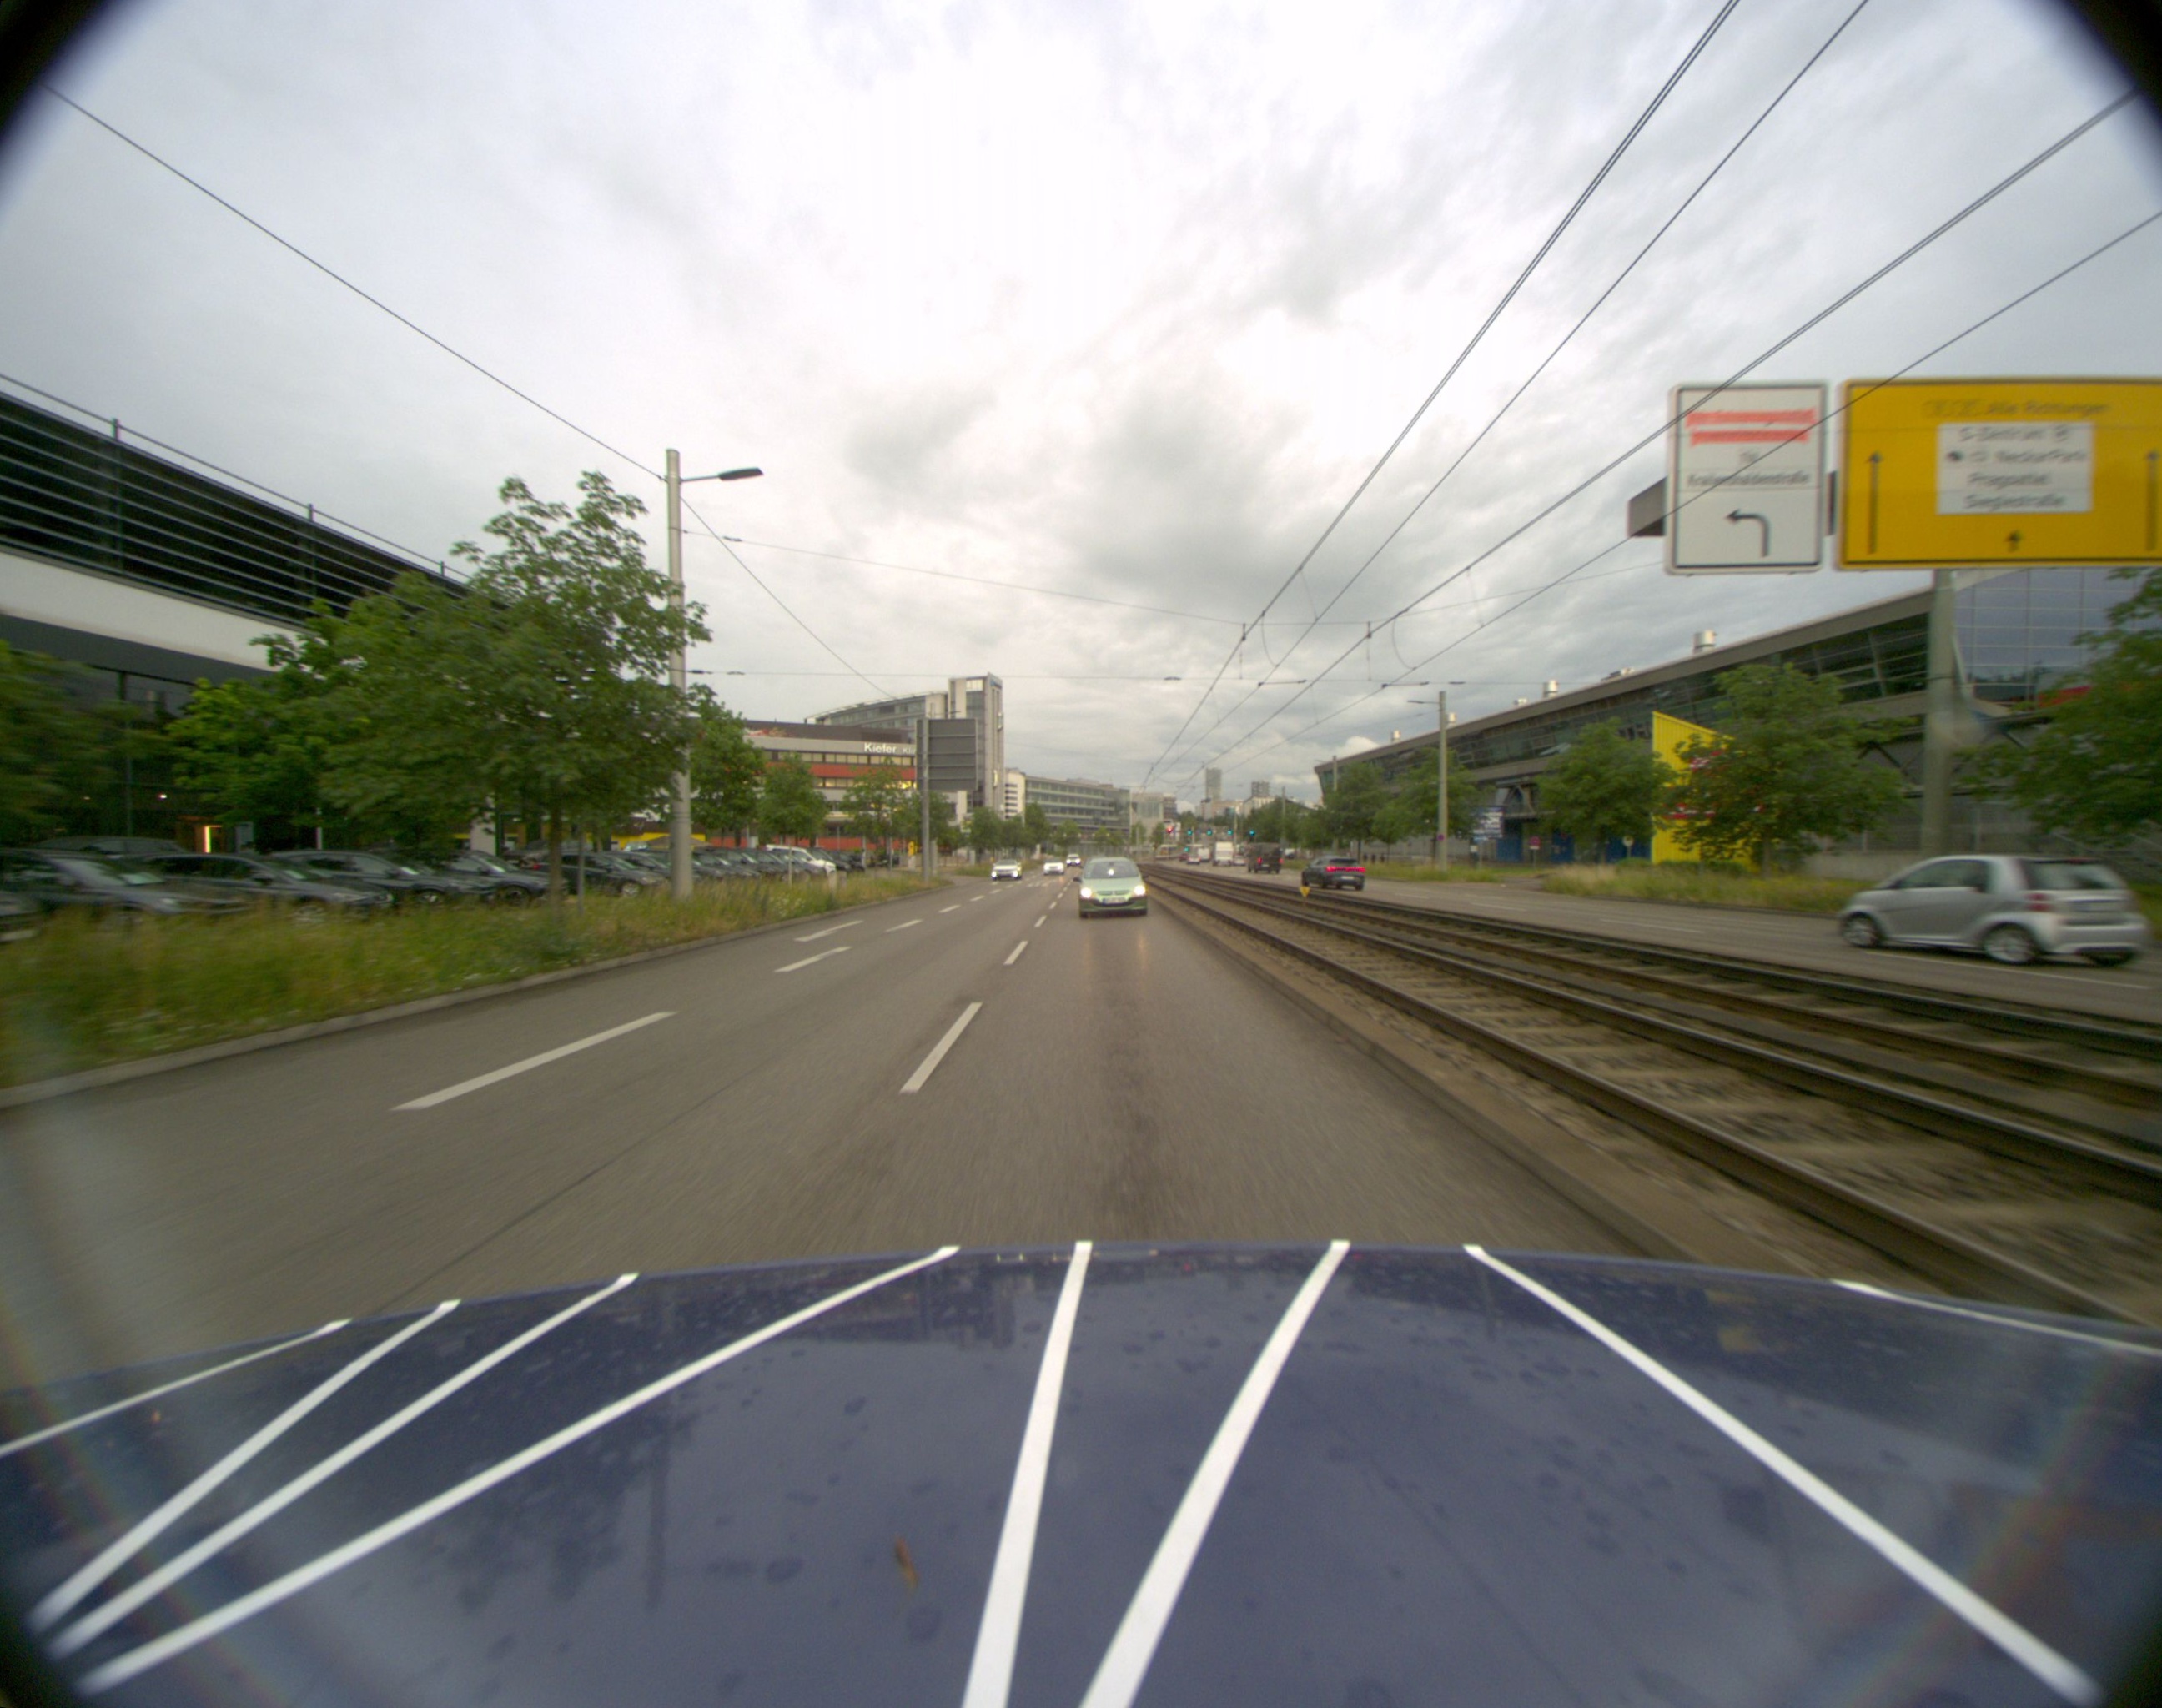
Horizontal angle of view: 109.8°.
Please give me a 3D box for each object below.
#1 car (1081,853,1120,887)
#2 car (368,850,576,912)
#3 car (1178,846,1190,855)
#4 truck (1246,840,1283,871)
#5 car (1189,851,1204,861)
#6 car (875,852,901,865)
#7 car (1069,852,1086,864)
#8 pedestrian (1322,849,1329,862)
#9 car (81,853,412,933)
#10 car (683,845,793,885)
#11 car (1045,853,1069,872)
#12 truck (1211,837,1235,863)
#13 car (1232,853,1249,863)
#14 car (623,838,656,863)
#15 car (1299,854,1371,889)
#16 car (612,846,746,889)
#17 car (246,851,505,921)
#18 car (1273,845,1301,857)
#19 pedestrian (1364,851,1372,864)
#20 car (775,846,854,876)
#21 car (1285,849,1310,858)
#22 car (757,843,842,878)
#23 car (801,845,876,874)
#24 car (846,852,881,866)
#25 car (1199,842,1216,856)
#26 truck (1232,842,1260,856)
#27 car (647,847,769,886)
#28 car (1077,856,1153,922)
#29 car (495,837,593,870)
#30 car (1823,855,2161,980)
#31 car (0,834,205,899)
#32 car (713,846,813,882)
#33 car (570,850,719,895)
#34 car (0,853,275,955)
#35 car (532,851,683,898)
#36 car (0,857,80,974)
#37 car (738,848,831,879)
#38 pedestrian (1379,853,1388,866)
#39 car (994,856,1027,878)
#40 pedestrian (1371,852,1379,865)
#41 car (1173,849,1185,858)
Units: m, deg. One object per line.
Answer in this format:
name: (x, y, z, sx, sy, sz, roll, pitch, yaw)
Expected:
car: (1.035, 0.751, 38.248, 1.762, 1.535, 3.714, -3, 1, 3)
car: (-16.386, 0.722, 20.689, 4.061, 1.567, 1.730, 1, 1, -18)
car: (19.713, -0.579, 145.971, 1.913, 1.647, 4.362, 2, 0, 4)
truck: (15.956, 0.062, 66.259, 2.243, 2.550, 7.017, 0, 0, 6)
car: (17.588, 0.273, 115.560, 1.810, 1.490, 4.442, 2, 0, 3)
car: (-21.158, 0.452, 83.490, 1.784, 1.410, 3.782, 1, 0, 1)
car: (-0.435, 0.487, 105.563, 1.889, 1.584, 3.983, -1, 0, 7)
pedestrian: (32.039, 0.199, 99.457, 0.684, 1.554, 0.627, -3, 1, 1)
car: (-16.548, 0.749, 15.368, 4.156, 1.450, 1.791, 1, 1, -18)
car: (-16.397, 0.518, 36.546, 4.501, 1.785, 1.819, 1, 1, -12)
car: (-2.069, 0.724, 65.541, 1.818, 1.584, 3.836, 0, 1, 2)
truck: (19.432, -0.535, 104.278, 2.732, 3.338, 7.155, 2, 1, 7)
car: (23.160, 0.585, 110.699, 1.901, 1.480, 4.424, 0, 0, 5)
car: (-30.170, -0.217, 51.906, 1.848, 1.634, 4.305, 0, 0, -31)
car: (11.025, 0.729, 33.312, 1.807, 1.420, 4.236, 1, 0, 1)
car: (-16.422, 0.560, 31.245, 4.501, 1.653, 1.819, 1, 1, -10)
car: (-16.578, 0.731, 18.135, 4.156, 1.525, 1.791, 1, 1, -18)
car: (41.831, -0.568, 154.257, 5.065, 2.318, 1.998, 0, 0, -10)
pedestrian: (32.043, 0.416, 84.918, 0.512, 1.447, 0.653, -3, 1, -9)
car: (-16.306, 0.418, 46.720, 4.392, 1.779, 1.876, 1, 1, -13)
car: (42.715, -0.086, 149.889, 4.253, 1.705, 1.912, 0, 0, -6)
car: (-16.324, 0.375, 44.253, 4.503, 1.980, 1.818, 1, 1, -17)
car: (-16.169, 0.392, 50.751, 1.873, 1.805, 4.401, 2, -1, 41)
car: (-29.107, 0.698, 101.524, 4.363, 1.637, 1.791, -3, 1, -19)
car: (22.604, -0.915, 136.201, 2.438, 2.486, 6.550, 1, 0, 5)
truck: (45.473, -1.379, 208.862, 4.081, 3.734, 10.875, 0, 0, 31)
car: (-16.468, 0.543, 33.745, 4.500, 1.610, 1.820, 1, 1, -8)
car: (0.867, 0.853, 20.444, 1.762, 1.489, 4.137, -3, 1, 1)
car: (-24.990, -0.012, 35.523, 1.784, 1.464, 3.899, 0, 0, 0)
car: (13.316, 0.832, 11.254, 1.603, 1.528, 2.949, 2, 1, -4)
car: (-25.227, 0.278, 19.185, 1.669, 1.464, 3.899, 0, 0, 0)
car: (-16.352, 0.496, 39.265, 4.501, 1.742, 1.819, 1, 1, -12)
car: (-16.309, 0.683, 28.594, 4.501, 1.560, 1.819, 1, 1, -10)
car: (-16.685, 0.785, 12.616, 4.156, 1.519, 1.828, 1, 1, -18)
car: (-16.157, 0.694, 26.120, 4.058, 1.493, 1.685, 1, 1, -10)
car: (-16.730, 0.811, 9.858, 4.156, 1.560, 1.906, 1, 1, -19)
car: (-16.218, 0.522, 41.794, 4.502, 1.628, 1.819, 1, 1, -13)
pedestrian: (32.125, 0.572, 80.728, 0.609, 1.431, 0.745, -3, 1, -3)
car: (-5.033, 0.900, 54.930, 1.878, 1.485, 3.837, -1, 0, 2)
pedestrian: (32.790, 0.483, 84.726, 0.452, 1.447, 0.653, -3, 1, -9)
car: (21.104, -0.106, 163.607, 1.998, 1.721, 4.679, 1, 0, 3)
